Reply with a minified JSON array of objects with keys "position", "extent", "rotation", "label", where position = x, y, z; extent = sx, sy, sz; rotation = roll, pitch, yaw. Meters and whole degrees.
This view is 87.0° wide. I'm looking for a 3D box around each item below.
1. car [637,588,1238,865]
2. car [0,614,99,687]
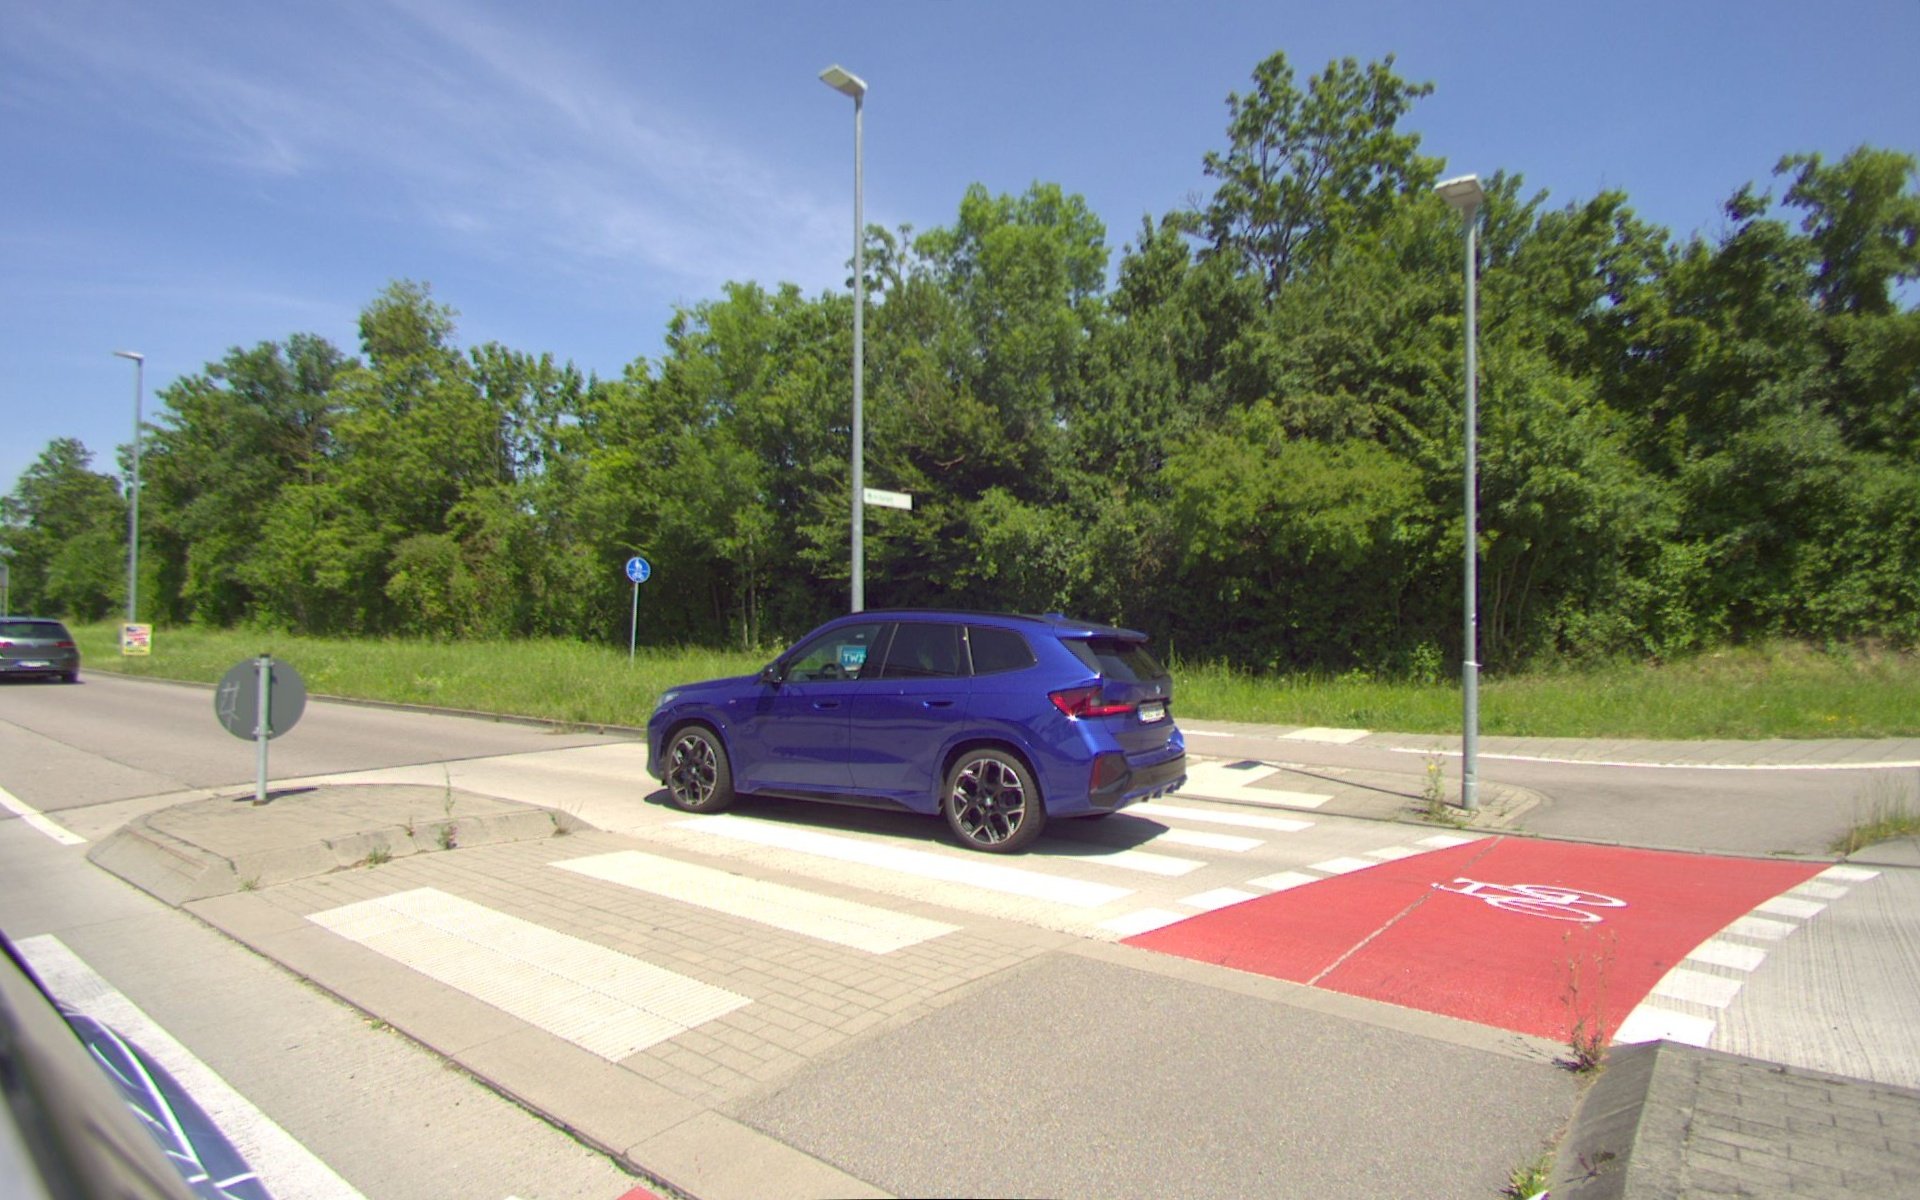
[{"position":[-0.266,0.845,7.881],"extent":[4.307,1.608,1.978],"rotation":[-2,-4,32],"label":"car"},{"position":[-21.100,1.110,22.488],"extent":[4.280,1.490,1.976],"rotation":[-1,-4,36],"label":"car"}]
